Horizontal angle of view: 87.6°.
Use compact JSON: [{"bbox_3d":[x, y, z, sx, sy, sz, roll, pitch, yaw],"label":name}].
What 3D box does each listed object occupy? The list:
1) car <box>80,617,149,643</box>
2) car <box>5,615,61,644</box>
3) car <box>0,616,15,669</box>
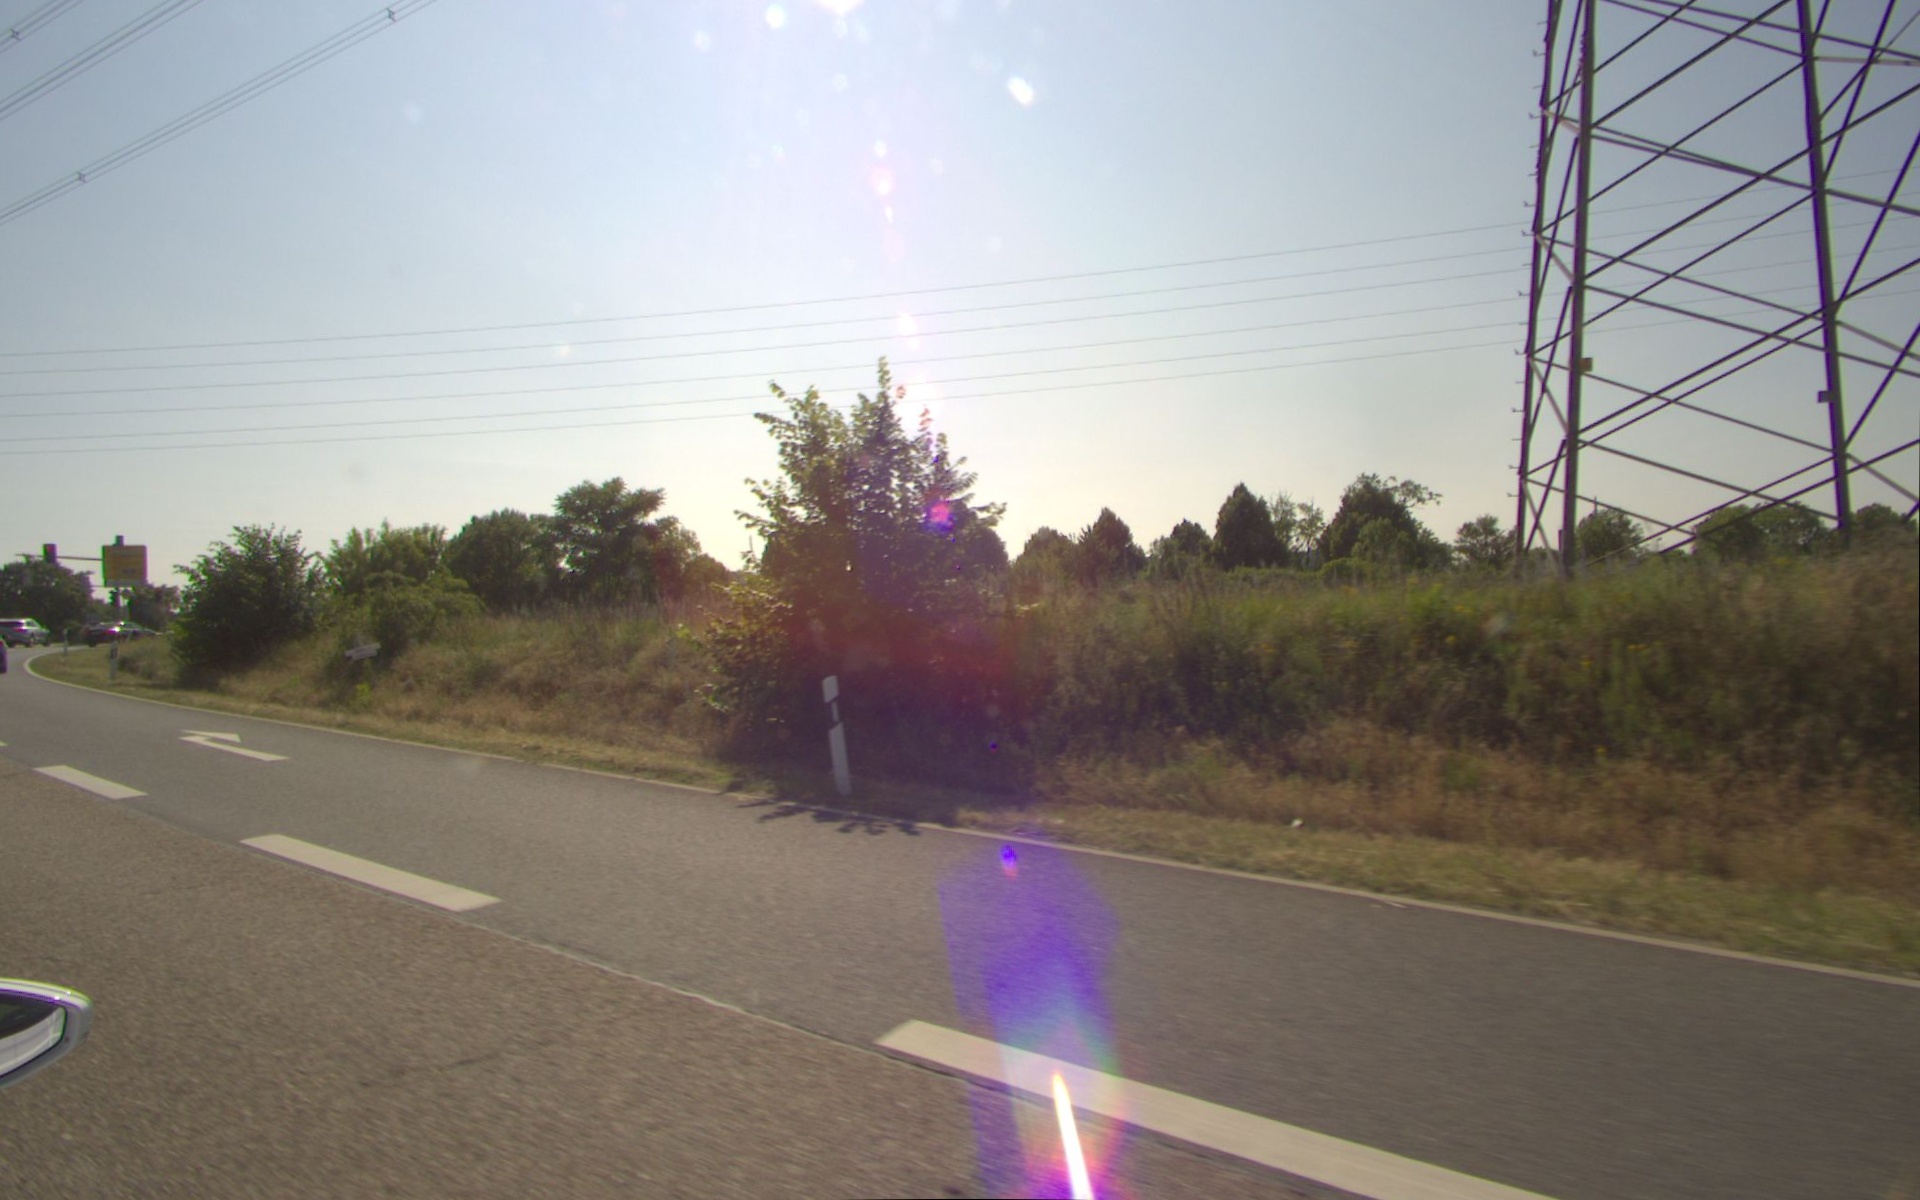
[{"bbox_3d":[-50.627,1.767,60.035,1.617,1.404,3.993,-1,0,-16],"label":"car"},{"bbox_3d":[-55.059,1.739,59.530,1.615,1.698,3.731,0,-1,-30],"label":"car"},{"bbox_3d":[-29.845,1.254,30.201,4.056,1.537,1.763,-1,-1,44],"label":"car"}]
